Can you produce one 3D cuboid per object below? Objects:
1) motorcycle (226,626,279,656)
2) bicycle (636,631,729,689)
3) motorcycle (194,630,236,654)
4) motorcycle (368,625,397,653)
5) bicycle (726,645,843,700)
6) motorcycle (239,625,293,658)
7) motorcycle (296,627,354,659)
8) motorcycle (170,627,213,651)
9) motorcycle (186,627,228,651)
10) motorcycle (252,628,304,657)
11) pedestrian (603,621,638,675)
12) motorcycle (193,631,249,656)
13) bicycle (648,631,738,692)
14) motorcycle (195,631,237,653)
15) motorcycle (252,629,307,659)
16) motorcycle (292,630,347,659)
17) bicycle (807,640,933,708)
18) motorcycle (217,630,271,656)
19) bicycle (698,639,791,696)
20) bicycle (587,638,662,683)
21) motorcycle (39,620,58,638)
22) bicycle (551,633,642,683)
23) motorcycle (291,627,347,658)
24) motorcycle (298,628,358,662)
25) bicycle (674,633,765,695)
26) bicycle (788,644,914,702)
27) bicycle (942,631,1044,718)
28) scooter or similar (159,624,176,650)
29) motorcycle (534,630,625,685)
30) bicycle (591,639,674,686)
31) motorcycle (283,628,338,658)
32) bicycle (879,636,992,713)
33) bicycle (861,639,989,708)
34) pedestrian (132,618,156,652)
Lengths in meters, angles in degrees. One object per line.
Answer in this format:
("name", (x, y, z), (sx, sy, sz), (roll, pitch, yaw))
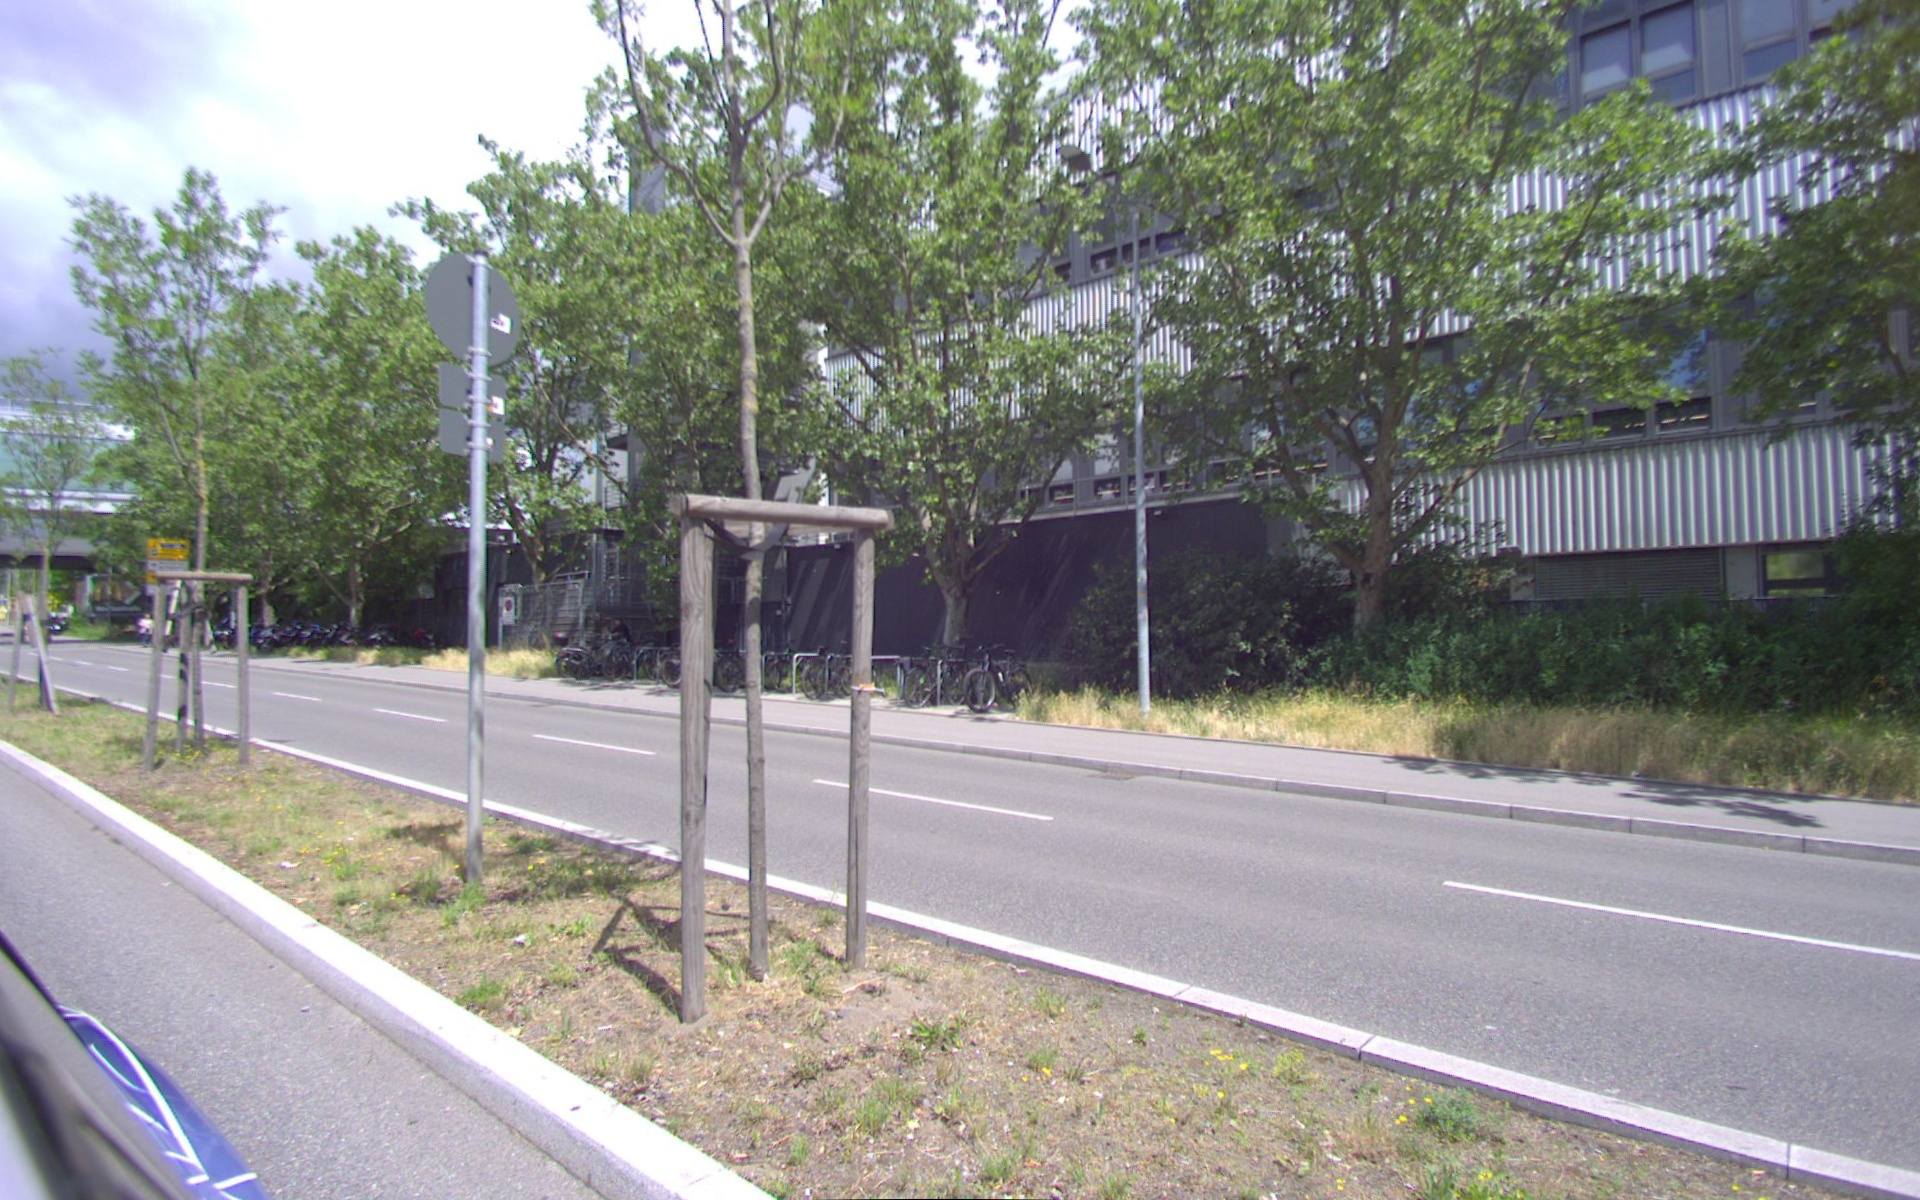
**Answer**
("motorcycle", (-33.026, 1.907, 47.256), (1.905, 1.300, 0.895), (-2, -1, -29))
("bicycle", (-6.665, 1.406, 24.374), (0.805, 1.292, 2.113), (-1, -1, 38))
("motorcycle", (-38.151, 2.137, 51.825), (0.776, 1.131, 1.574), (-3, -1, 41))
("motorcycle", (-26.340, 1.788, 46.145), (1.983, 1.219, 0.645), (-3, -1, 45))
("bicycle", (-3.695, 1.504, 21.647), (0.848, 1.014, 2.814), (-1, -1, 31))
("motorcycle", (-31.362, 1.872, 45.787), (1.905, 1.354, 0.867), (-2, -1, -29))
("motorcycle", (-25.643, 1.729, 40.891), (1.855, 1.195, 0.730), (-2, 0, -42))
("motorcycle", (-40.852, 2.060, 53.813), (1.721, 1.180, 0.777), (-2, -1, -42))
("motorcycle", (-39.185, 2.029, 52.670), (0.773, 1.131, 1.579), (-3, -1, 31))
("motorcycle", (-30.198, 1.886, 44.824), (1.853, 1.188, 0.817), (-2, -1, -35))
("pedestrian", (-10.118, 1.407, 30.127), (0.744, 1.563, 0.822), (0, -1, -40))
("motorcycle", (-35.831, 2.114, 49.091), (0.917, 1.124, 1.919), (1, -3, 28))
("bicycle", (-6.073, 1.377, 23.139), (0.805, 1.292, 1.899), (-1, -1, 38))
("motorcycle", (-37.285, 2.108, 50.722), (0.776, 1.041, 1.574), (-3, -1, 41))
("motorcycle", (-29.475, 1.904, 43.851), (1.855, 1.188, 0.816), (-2, -1, -41))
("motorcycle", (-26.497, 1.823, 41.855), (1.853, 1.093, 0.796), (-2, -1, -35))
("bicycle", (-1.718, 1.405, 19.689), (2.533, 1.166, 0.645), (0, -1, -40))
("motorcycle", (-34.208, 2.054, 48.370), (1.904, 1.124, 0.924), (-2, -1, -23))
("bicycle", (-4.643, 1.423, 21.901), (0.805, 1.131, 1.899), (-1, -1, 38))
("bicycle", (-8.506, 1.520, 25.742), (0.422, 1.083, 1.905), (-1, -1, 38))
("motorcycle", (-63.041, 2.011, 70.009), (2.255, 1.207, 0.633), (0, 1, 39))
("bicycle", (-9.295, 1.472, 25.959), (0.805, 1.189, 2.113), (-1, -1, 38))
("motorcycle", (-27.083, 1.794, 42.763), (0.655, 1.219, 1.857), (-3, -1, 43))
("motorcycle", (-24.518, 1.744, 39.289), (1.855, 1.182, 0.746), (-2, -1, -41))
("bicycle", (-5.363, 1.395, 22.622), (0.805, 1.292, 1.899), (-1, -1, 38))
("bicycle", (-2.146, 1.430, 20.261), (2.532, 1.104, 0.697), (2, -3, -40))
("bicycle", (0.605, 1.234, 17.395), (0.489, 1.374, 2.144), (-2, -2, 42))
("scooter or similar", (-39.164, 1.838, 50.008), (1.478, 1.245, 0.350), (0, 0, 40))
("motorcycle", (-9.834, 1.460, 26.252), (0.805, 1.319, 2.113), (-1, -1, 38))
("bicycle", (-8.183, 1.545, 25.396), (0.497, 1.070, 2.060), (-1, -1, 38))
("motorcycle", (-27.952, 1.850, 43.600), (0.698, 1.188, 1.857), (-3, -1, 43))
("bicycle", (-0.395, 1.296, 18.213), (0.555, 1.267, 2.379), (-2, -2, 42))
("bicycle", (-0.627, 1.365, 19.311), (2.533, 1.166, 0.727), (0, -1, -40))
("pedestrian", (-39.973, 1.695, 49.571), (0.812, 1.624, 0.760), (-1, 1, 39))
